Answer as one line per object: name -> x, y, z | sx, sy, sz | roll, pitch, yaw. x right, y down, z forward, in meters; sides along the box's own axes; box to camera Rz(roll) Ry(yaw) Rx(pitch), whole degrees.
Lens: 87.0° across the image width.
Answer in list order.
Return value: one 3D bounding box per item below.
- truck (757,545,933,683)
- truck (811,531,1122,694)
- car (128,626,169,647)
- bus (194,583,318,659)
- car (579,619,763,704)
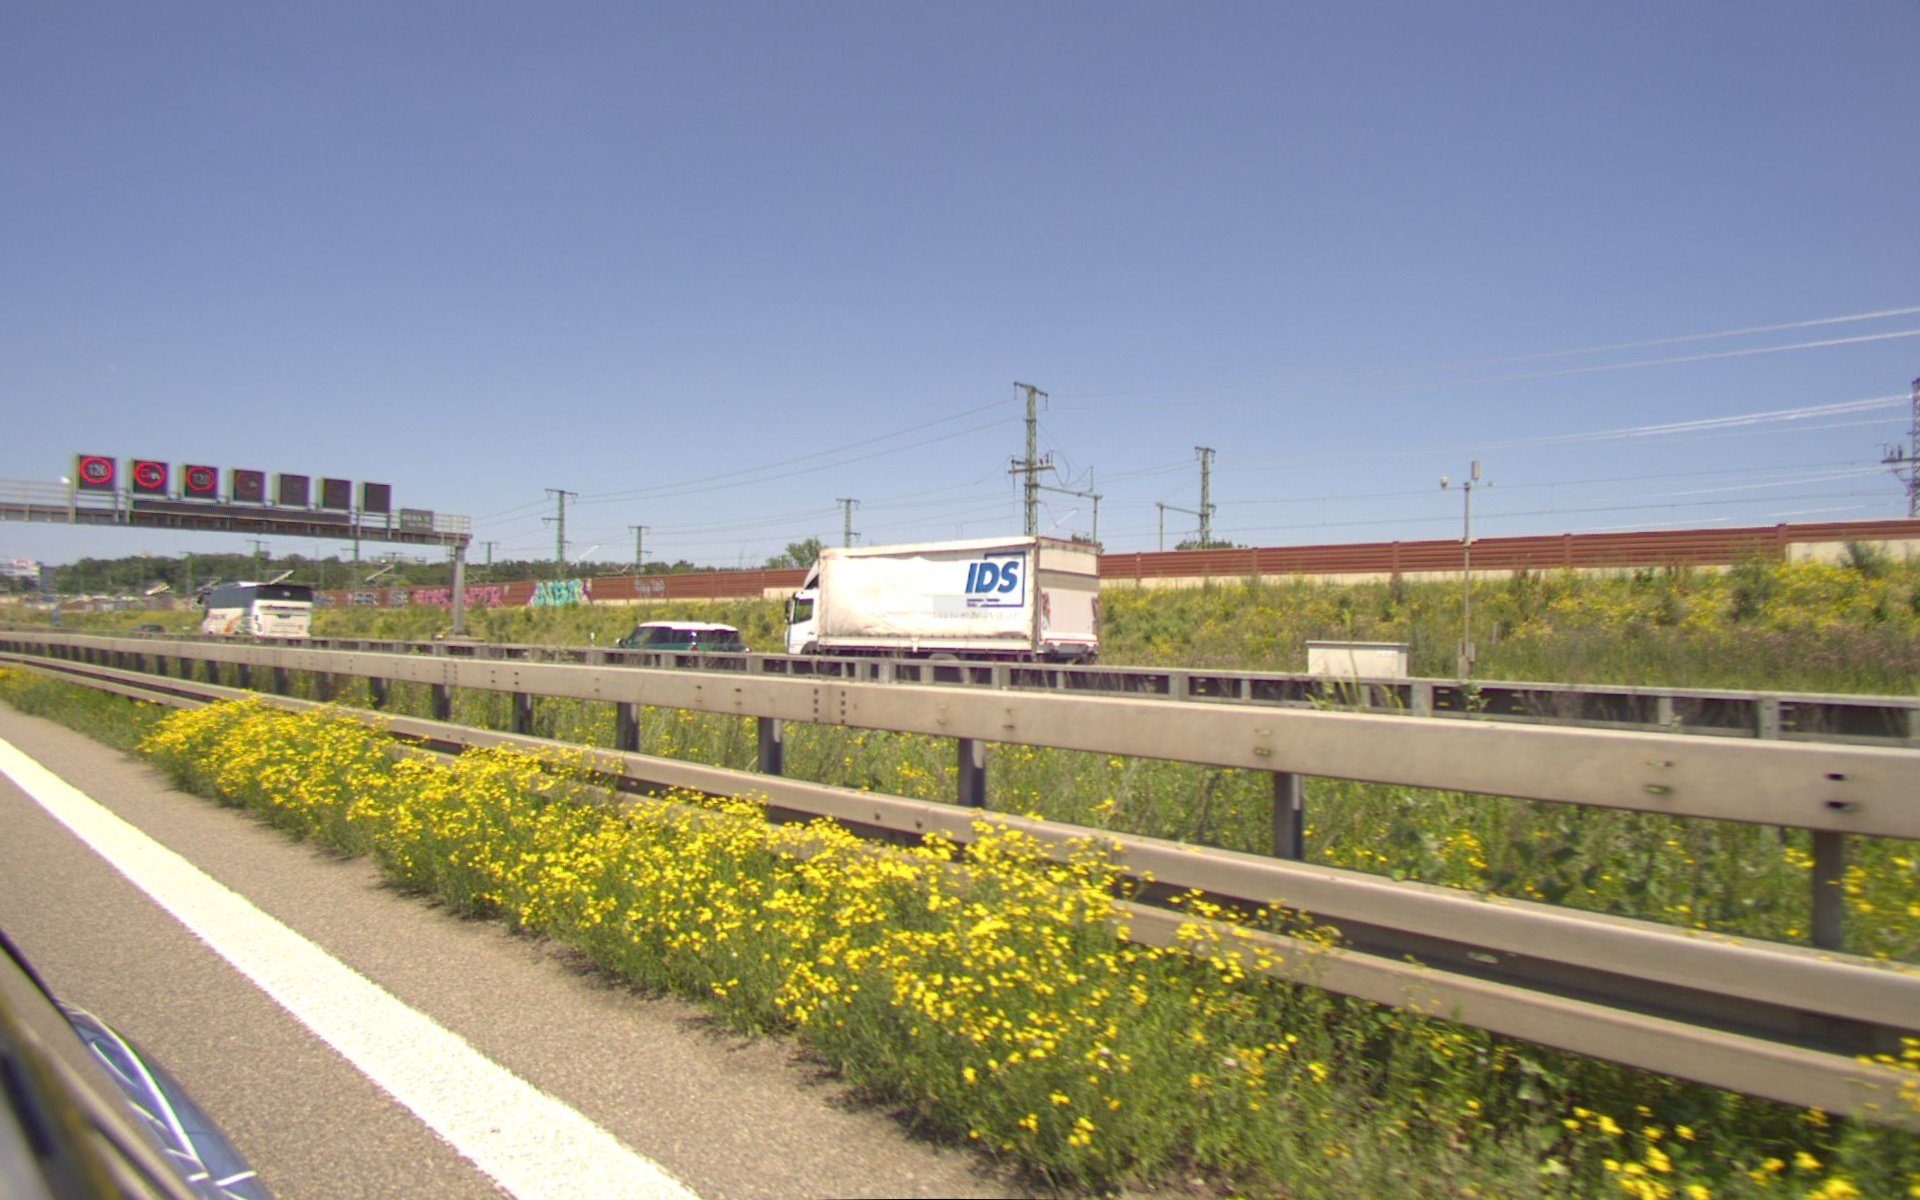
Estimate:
truck -> -3.204, 0.363, 28.019 | 4.021, 3.493, 2.818 | -1, 0, 41
truck -> -0.077, 0.309, 25.237 | 7.777, 3.493, 2.828 | -1, 0, 42
car -> -61.300, 2.739, 76.423 | 3.998, 1.485, 1.674 | -1, -4, 42
bus -> -37.549, 1.094, 53.732 | 10.935, 3.673, 2.827 | -1, 0, 41
car -> -6.194, 1.257, 21.517 | 3.998, 1.623, 1.900 | -1, -3, 42
